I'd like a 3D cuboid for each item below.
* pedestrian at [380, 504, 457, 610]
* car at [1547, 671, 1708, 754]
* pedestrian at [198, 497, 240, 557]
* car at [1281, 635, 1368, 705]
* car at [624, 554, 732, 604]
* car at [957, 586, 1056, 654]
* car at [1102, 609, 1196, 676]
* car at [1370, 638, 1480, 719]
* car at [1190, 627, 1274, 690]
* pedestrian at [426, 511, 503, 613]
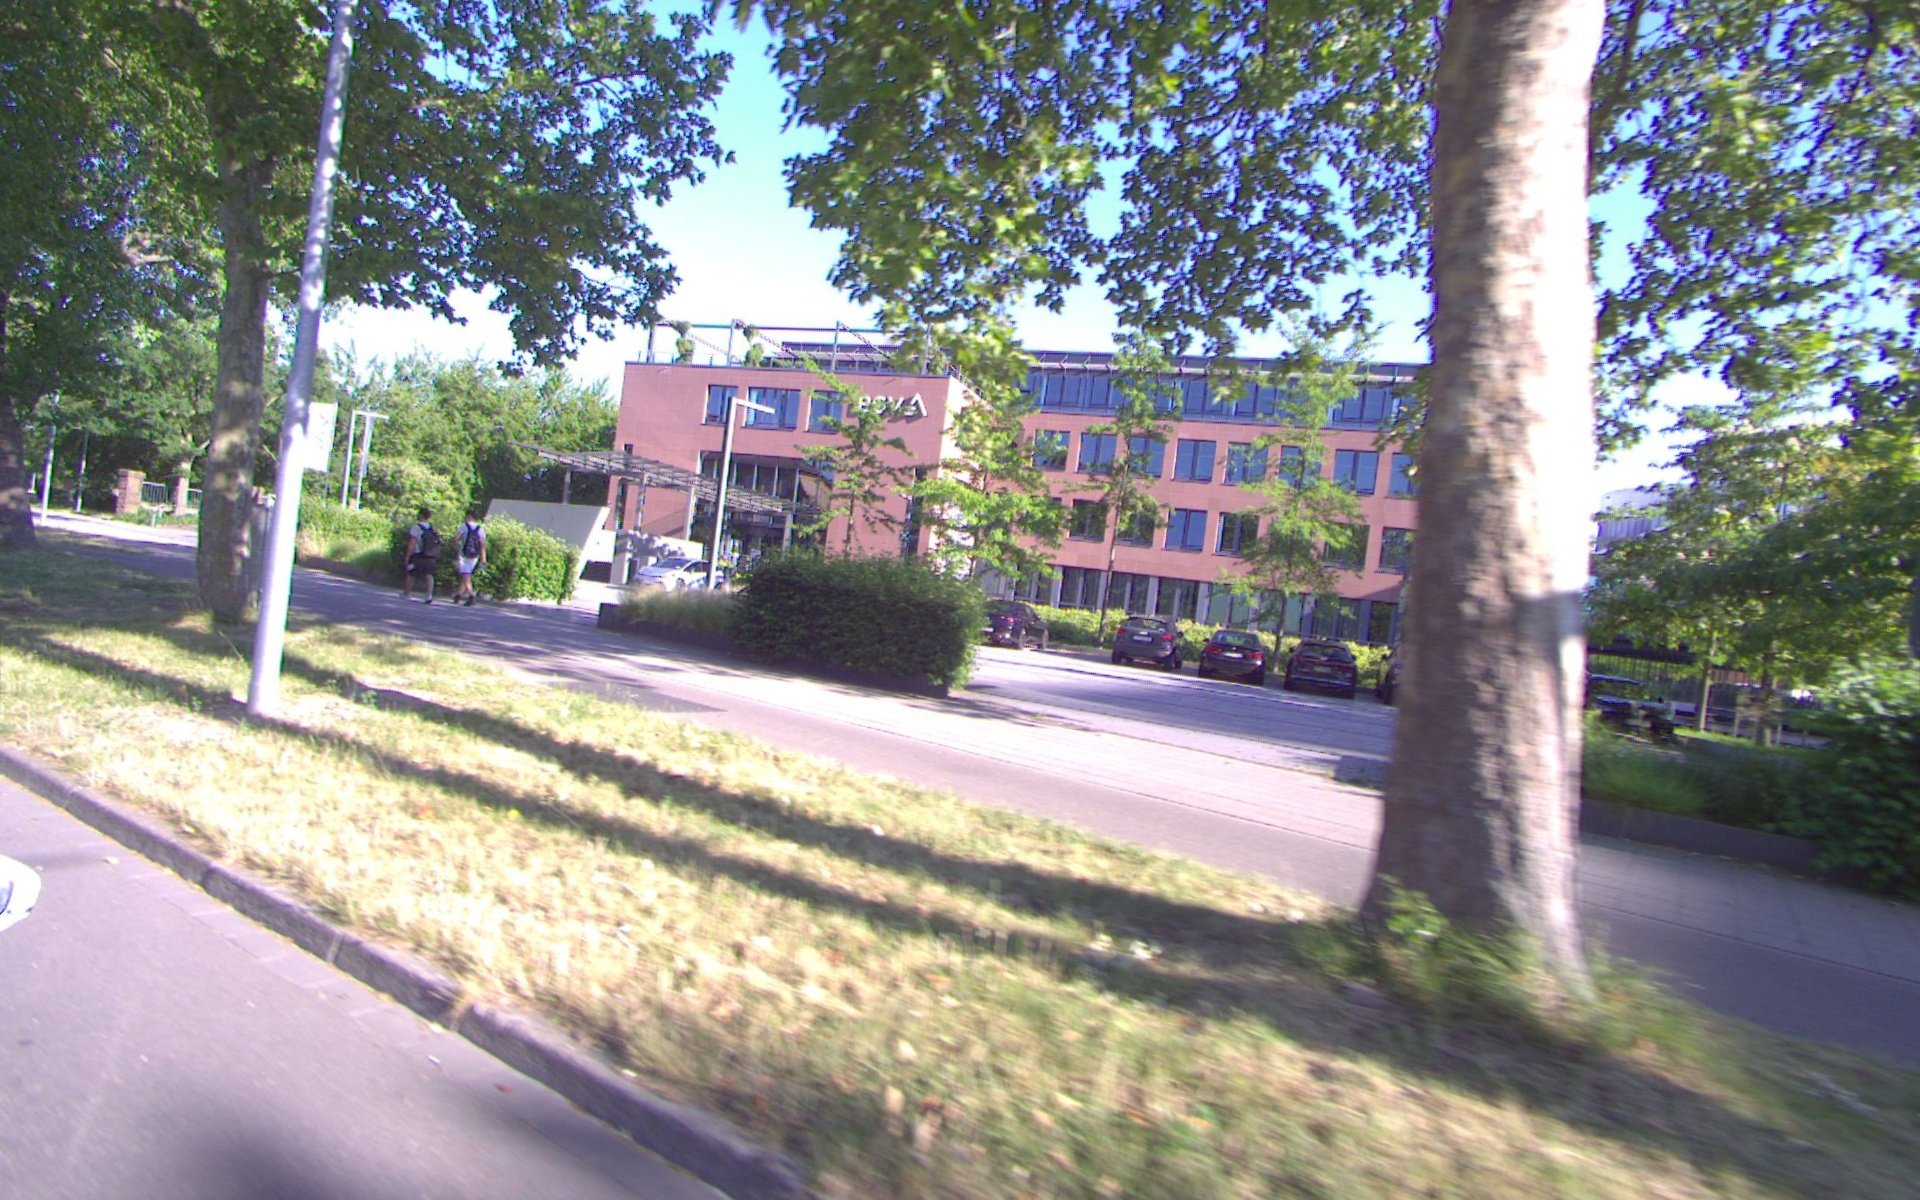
[{"bbox_3d":[-10.011,-0.793,18.595,1.070,1.816,0.749,7,2,38],"label":"pedestrian"},{"bbox_3d":[16.598,2.734,25.321,2.033,1.503,4.687,8,0,19],"label":"car"},{"bbox_3d":[-20.772,-2.054,28.196,0.771,1.559,0.649,7,2,37],"label":"pedestrian"},{"bbox_3d":[10.134,1.874,28.207,1.926,1.484,4.685,8,1,19],"label":"car"},{"bbox_3d":[-10.855,-0.777,39.096,1.962,1.526,4.173,8,1,17],"label":"car"},{"bbox_3d":[1.546,0.642,31.432,1.814,1.735,4.685,8,1,17],"label":"car"},{"bbox_3d":[5.859,1.274,30.721,2.033,1.618,4.685,8,1,19],"label":"car"},{"bbox_3d":[12.696,2.065,27.789,2.033,1.735,4.685,8,1,19],"label":"car"},{"bbox_3d":[7.985,1.628,29.270,1.937,1.401,4.685,8,1,19],"label":"car"},{"bbox_3d":[-9.547,-0.726,19.376,1.093,1.816,0.805,7,2,38],"label":"pedestrian"}]
